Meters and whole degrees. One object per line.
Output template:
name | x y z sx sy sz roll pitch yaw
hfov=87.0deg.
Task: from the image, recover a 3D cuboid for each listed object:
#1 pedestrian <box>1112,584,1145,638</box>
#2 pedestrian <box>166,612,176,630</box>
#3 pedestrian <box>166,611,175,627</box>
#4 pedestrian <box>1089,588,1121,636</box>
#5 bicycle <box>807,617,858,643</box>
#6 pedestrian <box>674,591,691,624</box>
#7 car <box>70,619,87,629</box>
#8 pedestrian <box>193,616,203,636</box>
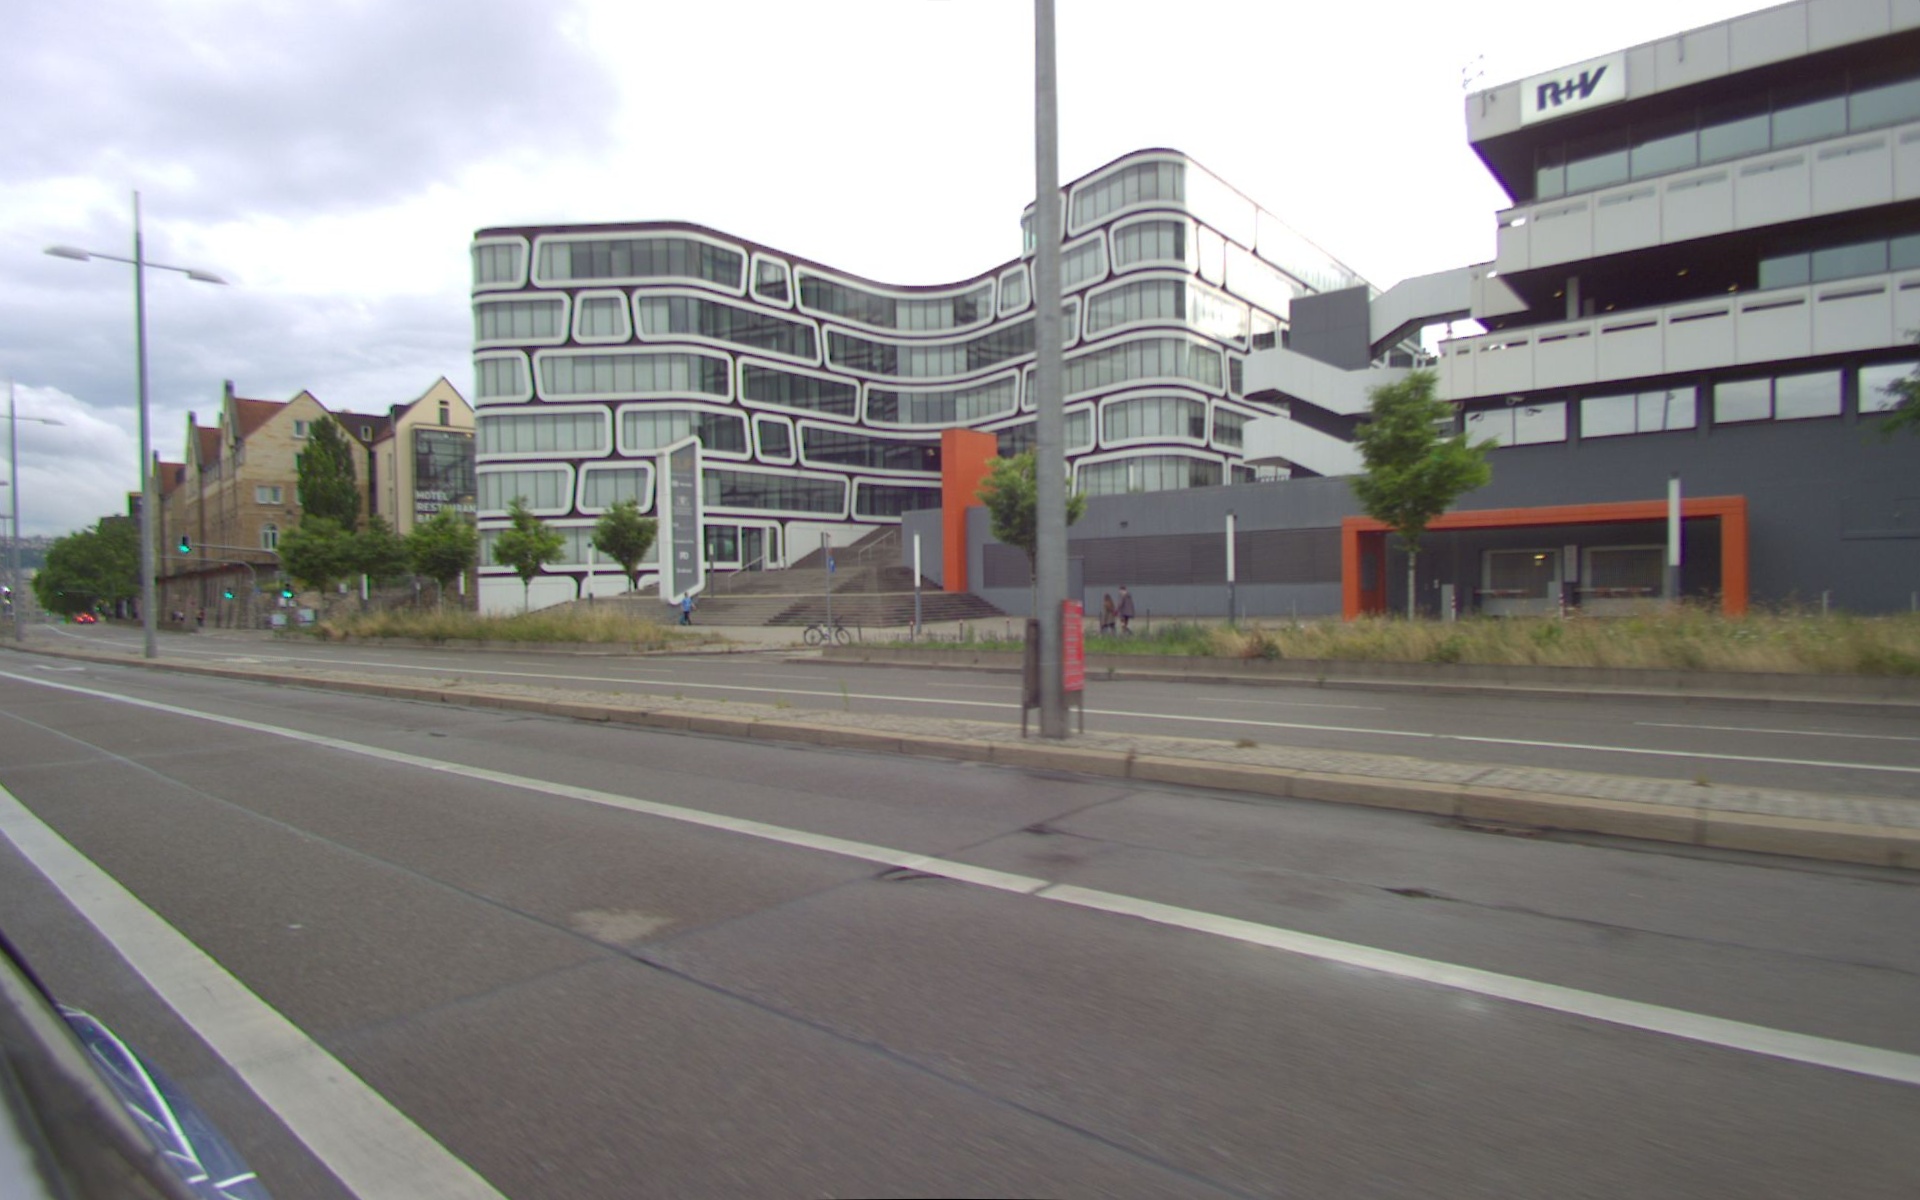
pedestrian | 5.261 0.328 31.621 0.798 1.670 0.611 0 0 42
pedestrian | -79.219 2.139 101.607 0.668 1.792 0.684 0 0 -44
pedestrian | -86.942 2.080 111.466 0.668 1.792 0.684 0 0 -44
pedestrian | 4.442 0.367 31.023 0.798 1.457 0.611 0 0 42
bicycle | -4.375 1.019 34.708 1.637 0.864 0.608 0 0 7
pedestrian | -13.765 0.357 50.214 0.640 1.623 0.604 0 1 43
car | -132.256 3.558 151.786 1.690 1.475 4.004 -2 0 -43
pedestrian | -71.938 2.457 95.529 0.668 1.792 0.684 0 0 -44
